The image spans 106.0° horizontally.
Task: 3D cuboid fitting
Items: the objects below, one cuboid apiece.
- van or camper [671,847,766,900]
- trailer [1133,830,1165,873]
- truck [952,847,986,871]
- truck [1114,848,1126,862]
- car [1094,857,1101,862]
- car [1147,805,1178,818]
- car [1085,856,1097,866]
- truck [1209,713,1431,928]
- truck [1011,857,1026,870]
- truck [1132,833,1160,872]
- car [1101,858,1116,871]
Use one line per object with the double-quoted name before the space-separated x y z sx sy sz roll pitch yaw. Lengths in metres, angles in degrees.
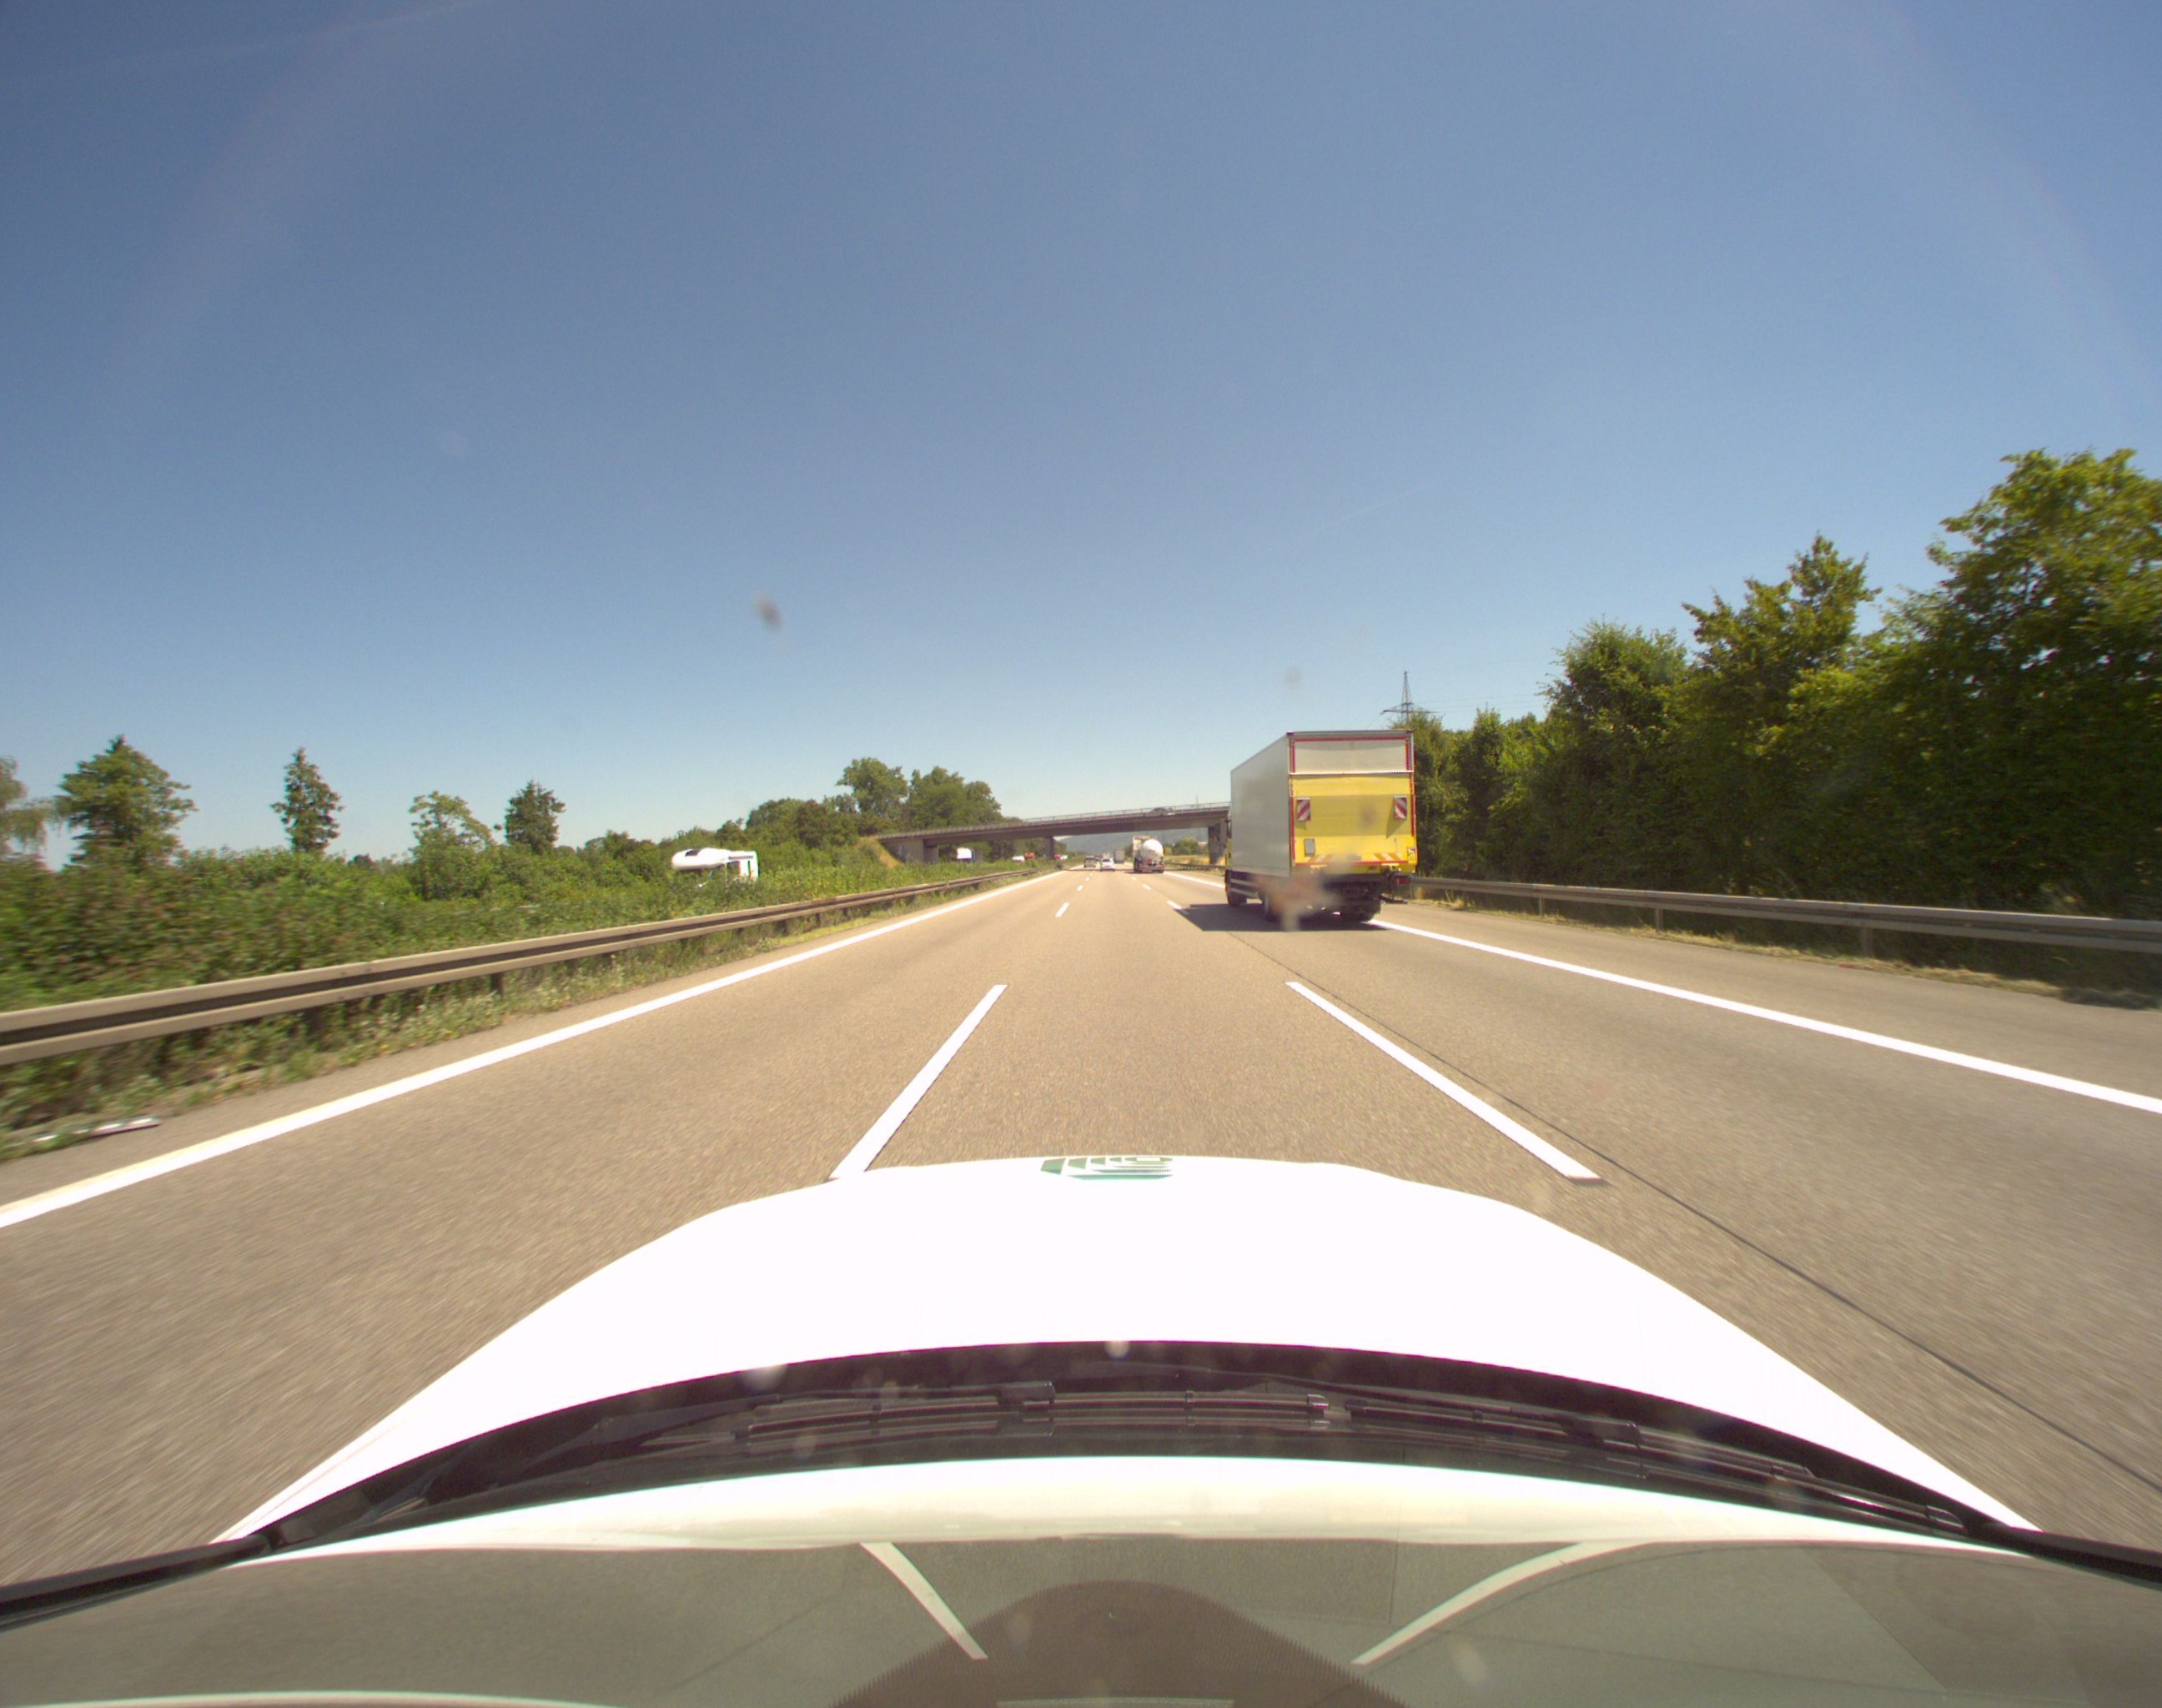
"van or camper" -18.779 0.969 42.568 1.986 2.545 6.301 0 0 2
"trailer" 6.837 -0.181 82.986 2.570 4.074 11.105 0 0 1
"truck" -16.674 0.718 122.453 2.864 3.498 10.748 0 0 4
"truck" 11.186 0.418 233.105 3.253 3.857 11.634 0 0 1
"car" 4.555 1.585 228.253 1.828 1.386 4.002 0 0 2
"car" 10.391 -5.410 104.311 1.647 1.468 3.955 0 0 -38
"car" 1.721 1.207 136.891 1.845 1.633 4.002 0 0 2
"truck" 5.528 -0.640 21.337 2.923 4.200 10.684 0 0 1
"truck" -11.286 1.684 147.971 1.985 2.399 6.424 0 0 3
"truck" 6.936 -0.165 87.750 2.564 4.072 6.394 0 0 1
"car" 3.189 1.195 94.629 1.800 1.468 4.002 0 0 2
